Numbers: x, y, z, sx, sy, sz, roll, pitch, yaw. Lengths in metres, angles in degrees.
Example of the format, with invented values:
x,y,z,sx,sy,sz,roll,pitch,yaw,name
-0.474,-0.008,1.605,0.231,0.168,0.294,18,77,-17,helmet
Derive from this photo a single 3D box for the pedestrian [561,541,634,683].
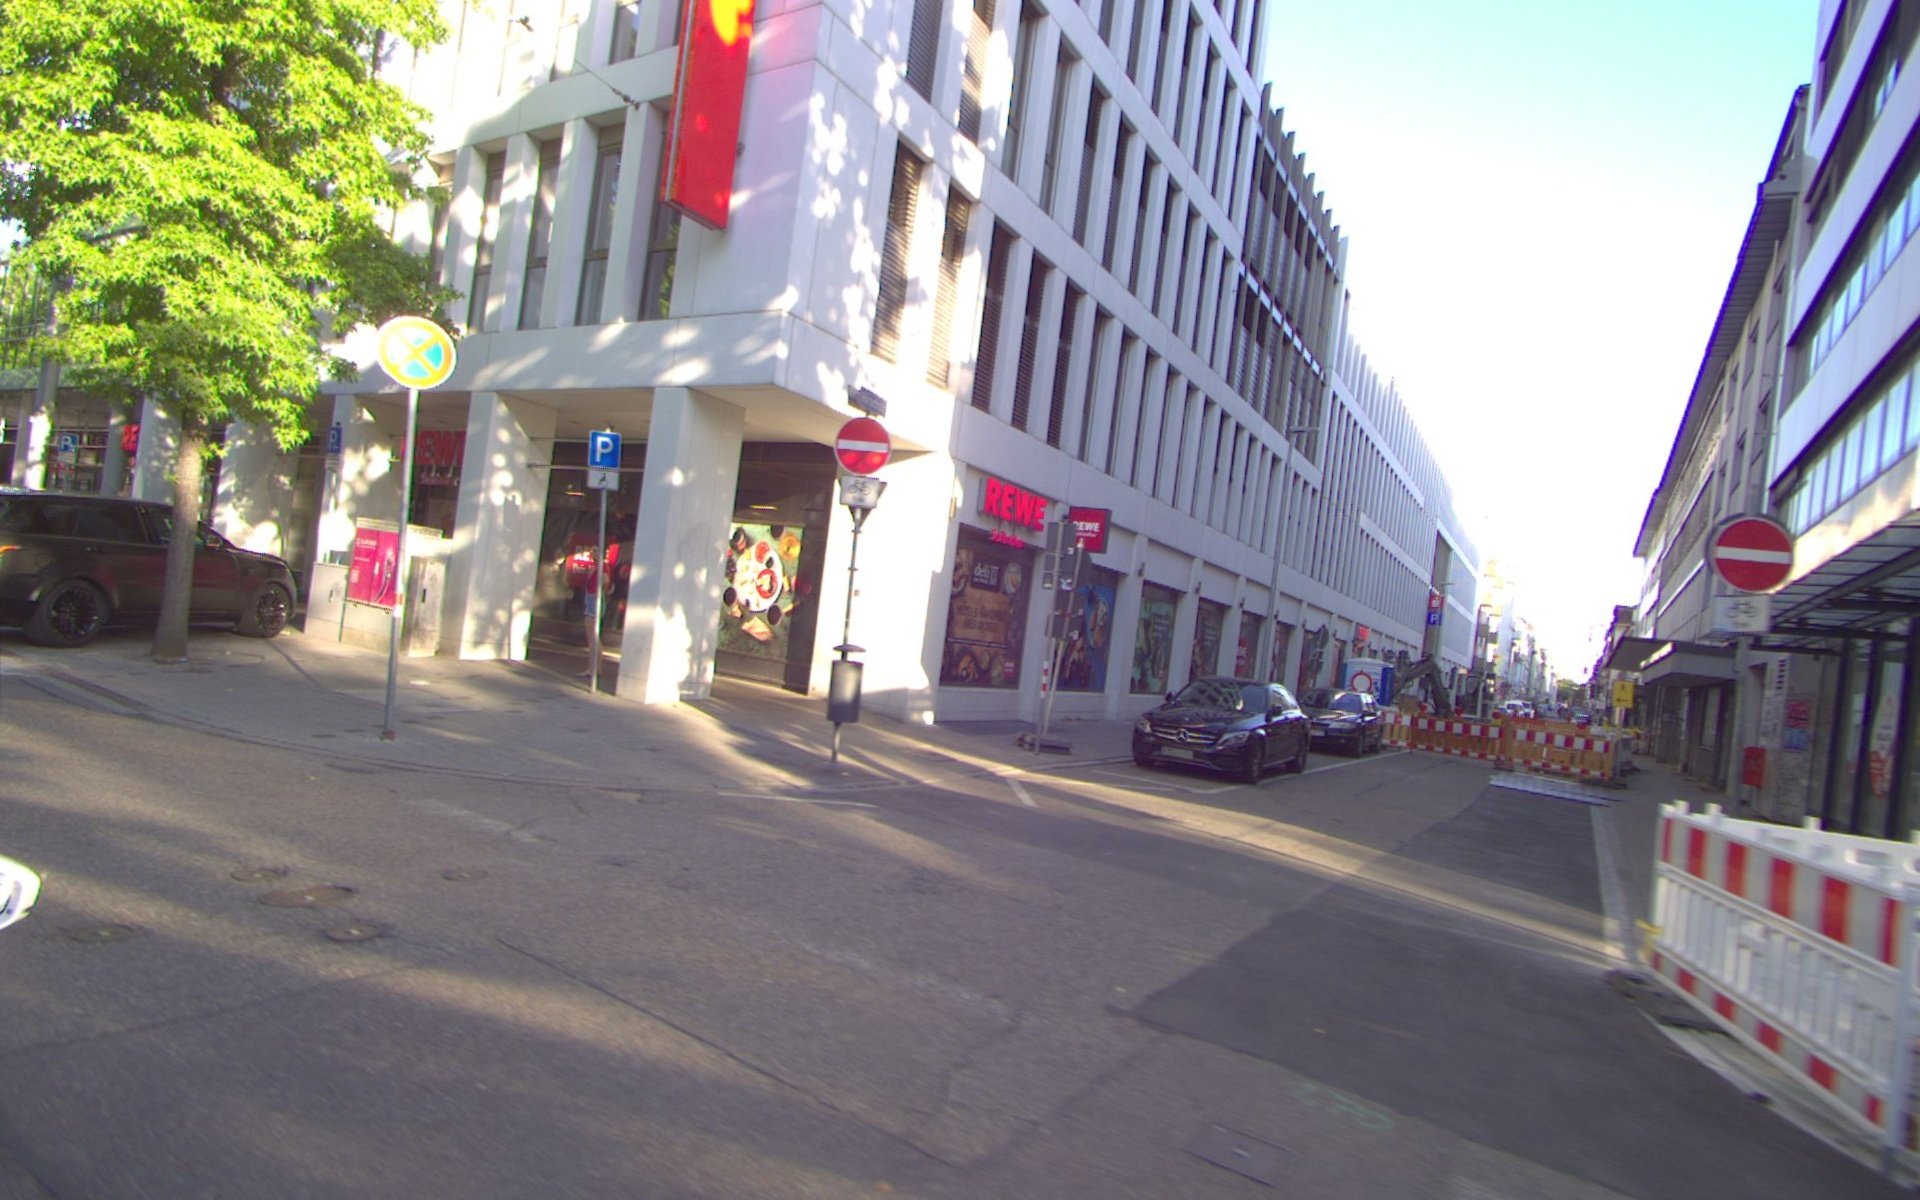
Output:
x,y,z,sx,sy,sz,roll,pitch,yaw,name
-4.982,0.162,13.811,0.746,1.841,0.798,5,1,-25,pedestrian

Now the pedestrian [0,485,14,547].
x,y,z,sx,sy,sz,roll,pitch,yaw,name
-28.304,-2.490,29.558,0.516,1.773,0.557,7,2,32,pedestrian

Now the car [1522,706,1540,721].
x,y,z,sx,sy,sz,roll,pitch,yaw,name
75.066,14.952,132.335,1.798,1.636,4.078,7,-2,32,car

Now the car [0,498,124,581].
x,y,z,sx,sy,sz,roll,pitch,yaw,name
-18.635,-1.208,18.785,1.941,1.488,5.055,6,1,-3,car

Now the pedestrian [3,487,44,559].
x,y,z,sx,sy,sz,roll,pitch,yaw,name
-23.687,-1.941,25.447,0.542,1.716,0.517,7,-1,37,pedestrian

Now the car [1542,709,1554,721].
x,y,z,sx,sy,sz,roll,pitch,yaw,name
110.342,21.582,188.768,1.798,1.836,5.088,7,-2,31,car

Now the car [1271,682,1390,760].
x,y,z,sx,sy,sz,roll,pitch,yaw,name
8.636,2.754,23.200,1.767,1.434,4.325,5,-3,30,car

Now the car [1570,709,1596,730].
x,y,z,sx,sy,sz,roll,pitch,yaw,name
56.101,10.755,90.588,1.798,1.636,4.078,7,-2,32,car

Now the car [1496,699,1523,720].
x,y,z,sx,sy,sz,roll,pitch,yaw,name
48.841,9.701,89.337,1.798,1.570,4.078,7,-2,32,car

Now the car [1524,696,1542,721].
x,y,z,sx,sy,sz,roll,pitch,yaw,name
80.235,15.173,140.833,1.798,3.166,5.088,7,-2,31,car

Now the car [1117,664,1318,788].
x,y,z,sx,sy,sz,roll,pitch,yaw,name
4.072,1.860,15.341,1.767,1.434,4.325,5,-3,30,car

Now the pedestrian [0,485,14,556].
x,y,z,sx,sy,sz,roll,pitch,yaw,name
-23.821,-1.991,24.603,0.540,1.716,0.681,7,-1,20,pedestrian

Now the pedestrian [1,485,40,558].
x,y,z,sx,sy,sz,roll,pitch,yaw,name
-23.705,-1.975,25.386,0.550,1.773,0.523,7,2,34,pedestrian

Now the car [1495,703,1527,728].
x,y,z,sx,sy,sz,roll,pitch,yaw,name
42.086,8.797,76.808,1.798,1.636,4.078,7,-2,32,car

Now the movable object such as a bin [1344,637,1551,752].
x,y,z,sx,sy,sz,roll,pitch,yaw,name
16.225,3.199,33.178,8.150,2.943,2.795,9,-2,-39,movable object such as a bin

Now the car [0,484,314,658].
x,y,z,sx,sy,sz,roll,pitch,yaw,name
-10.678,-0.403,12.505,1.957,1.786,4.666,6,1,3,car

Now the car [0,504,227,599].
x,y,z,sx,sy,sz,roll,pitch,yaw,name
-16.176,-0.882,18.123,1.897,1.444,4.668,6,0,11,car
